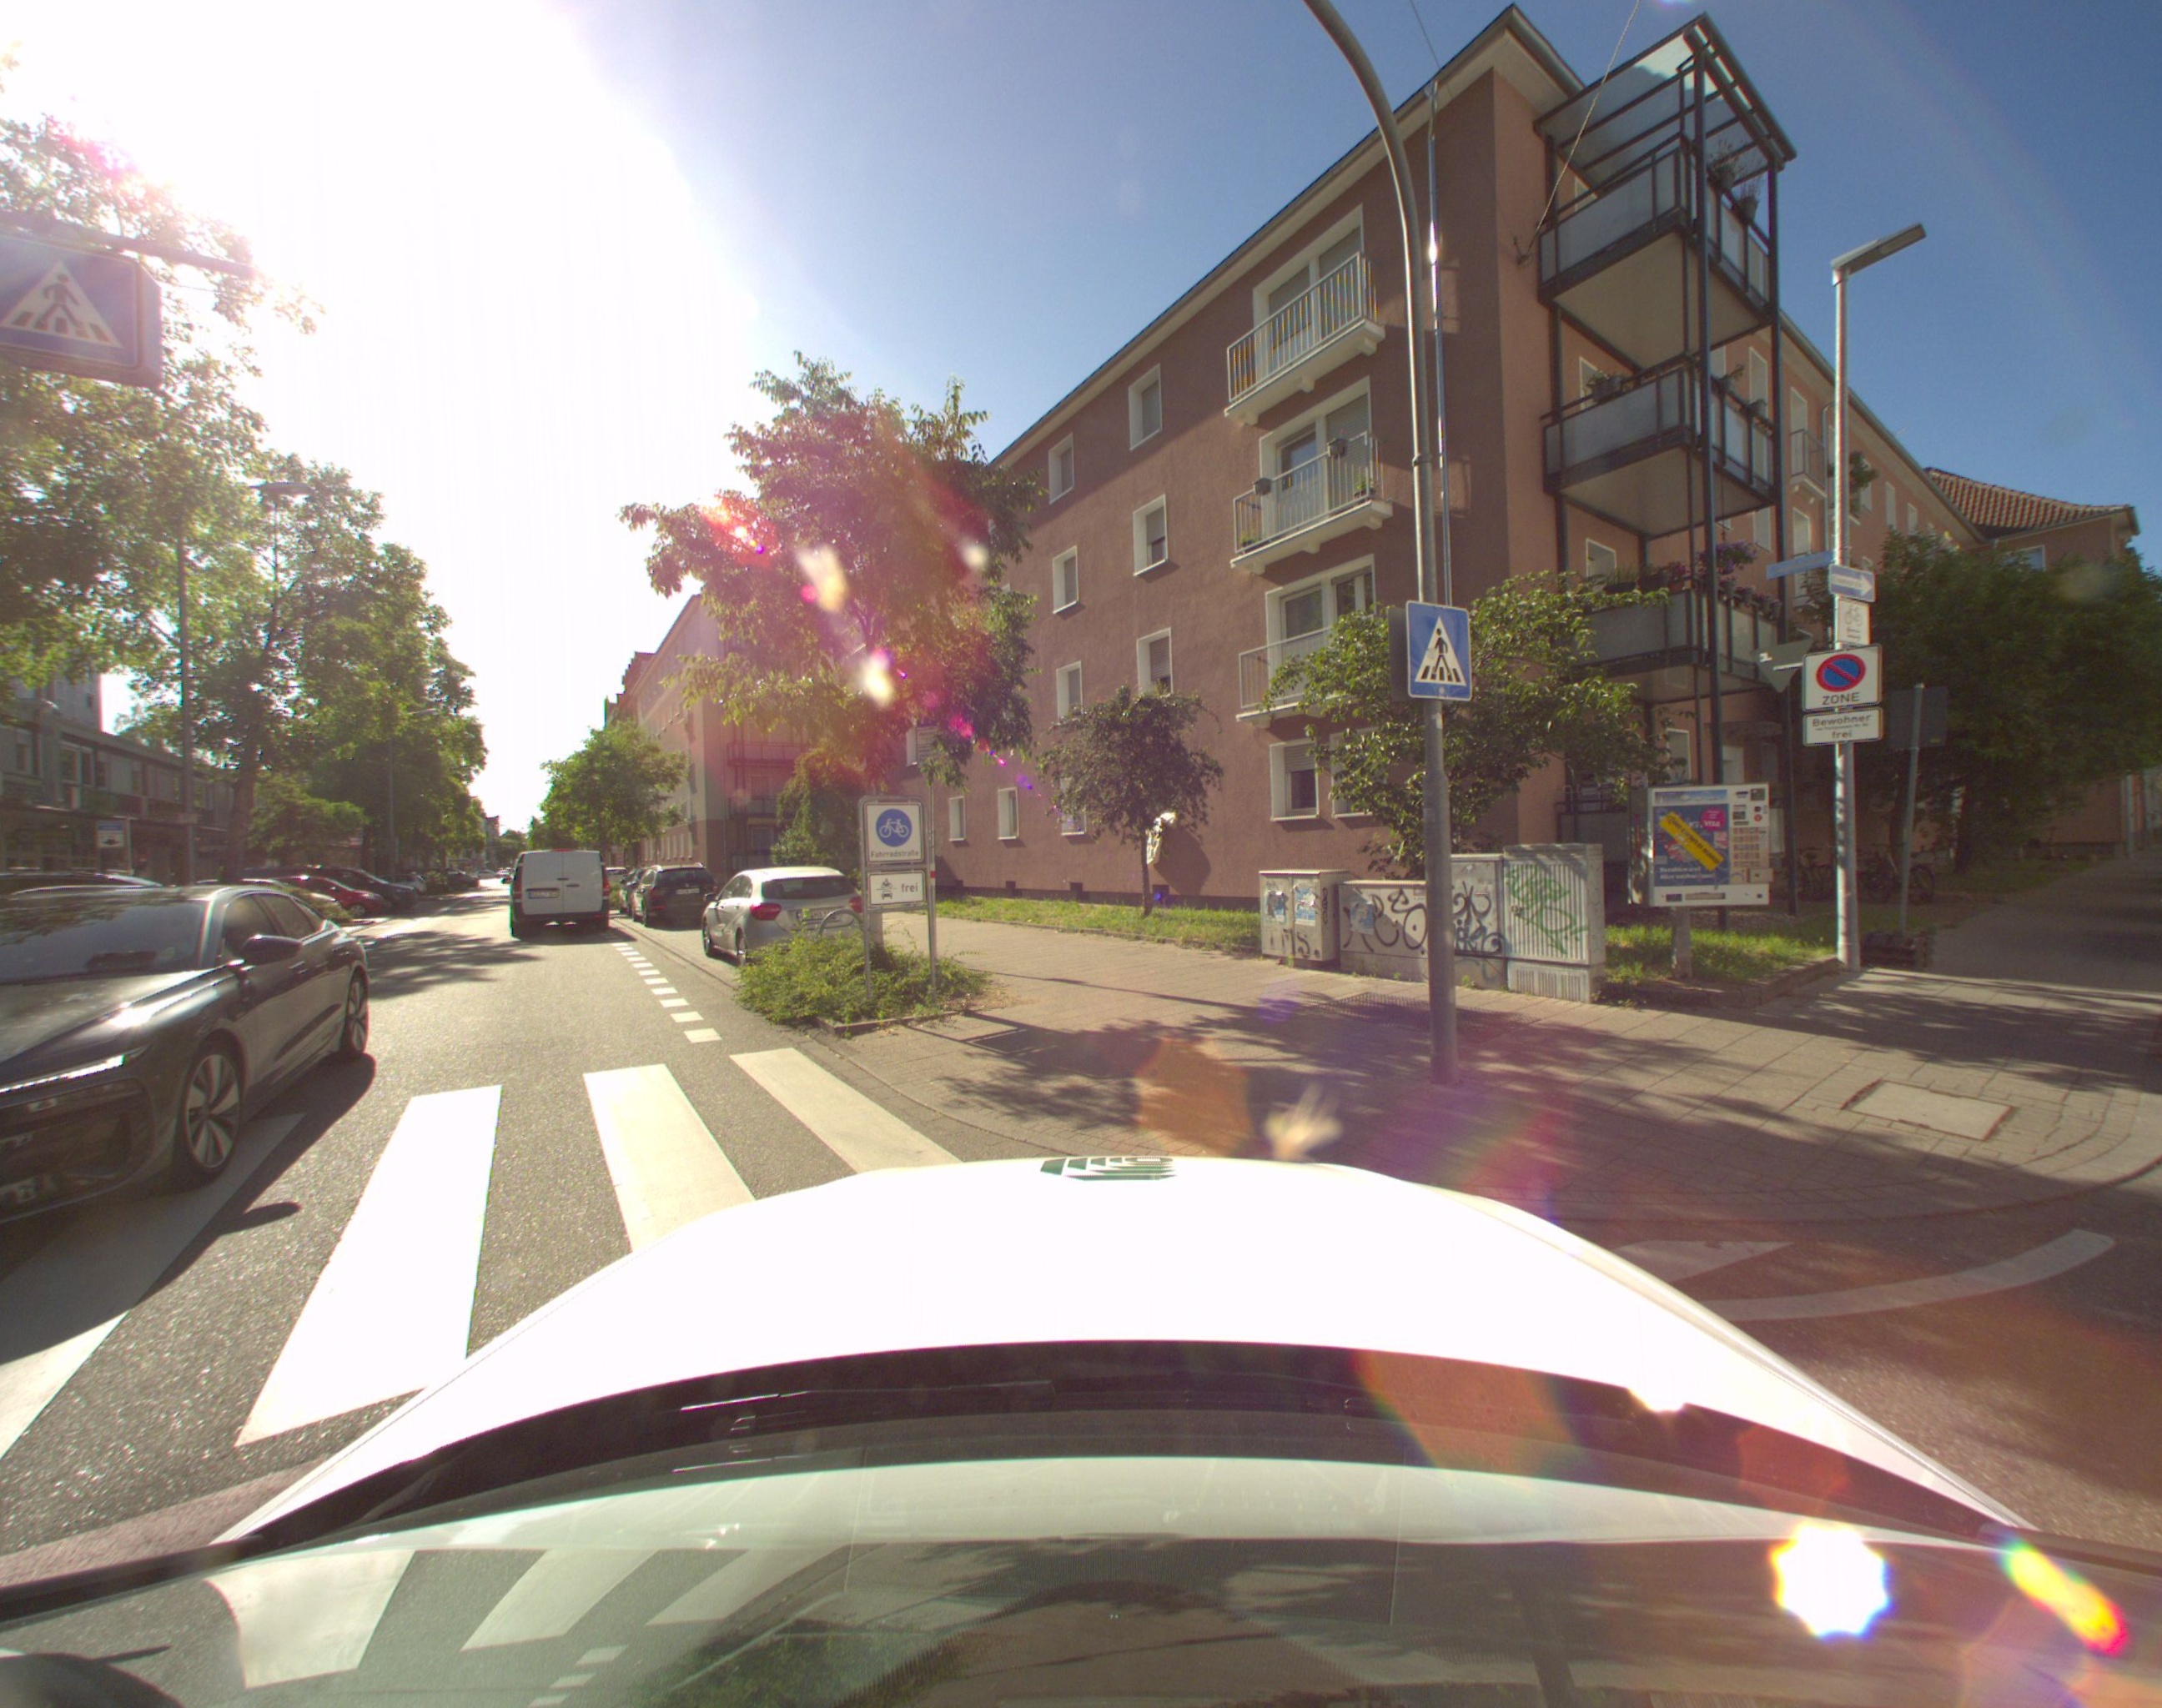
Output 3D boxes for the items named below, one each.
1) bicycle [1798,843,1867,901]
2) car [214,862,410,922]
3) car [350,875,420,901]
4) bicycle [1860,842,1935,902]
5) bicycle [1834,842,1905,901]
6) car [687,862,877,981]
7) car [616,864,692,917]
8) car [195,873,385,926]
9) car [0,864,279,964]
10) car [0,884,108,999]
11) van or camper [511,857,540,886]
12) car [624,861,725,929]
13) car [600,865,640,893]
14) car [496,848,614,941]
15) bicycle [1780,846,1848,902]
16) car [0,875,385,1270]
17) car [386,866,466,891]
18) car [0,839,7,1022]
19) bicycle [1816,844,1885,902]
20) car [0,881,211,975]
[{"bbox_3d":[14.493,0.335,15.734,0.264,1.072,1.218,-2,0,5],"label":"bicycle"},{"bbox_3d":[-29.416,1.393,31.432,5.252,1.981,1.643,-2,0,-36],"label":"car"},{"bbox_3d":[-42.658,2.041,49.999,3.123,1.409,1.643,-2,0,-36],"label":"car"},{"bbox_3d":[15.409,0.321,15.395,0.251,1.071,1.222,-2,0,5],"label":"bicycle"},{"bbox_3d":[15.137,0.320,15.666,0.251,1.071,1.218,-2,0,5],"label":"bicycle"},{"bbox_3d":[-4.749,0.899,12.572,1.753,1.454,4.111,-2,0,-35],"label":"car"},{"bbox_3d":[-13.830,1.115,26.287,1.753,1.519,3.817,-2,0,-34],"label":"car"},{"bbox_3d":[-28.146,1.558,29.236,4.662,1.610,1.643,-2,0,-36],"label":"car"},{"bbox_3d":[-20.155,1.177,16.940,4.662,1.804,1.817,-2,0,-36],"label":"car"},{"bbox_3d":[-16.199,1.221,10.712,4.060,1.494,1.698,-1,-1,-36],"label":"car"},{"bbox_3d":[-49.944,1.577,73.285,2.008,2.475,5.758,-2,0,-34],"label":"van or camper"},{"bbox_3d":[-10.620,0.989,21.125,1.796,1.519,4.263,-2,0,-34],"label":"car"},{"bbox_3d":[-27.768,1.465,49.007,1.753,1.519,3.817,-2,0,-34],"label":"car"},{"bbox_3d":[-12.916,0.872,19.906,2.117,1.907,5.366,-2,0,-35],"label":"car"},{"bbox_3d":[14.169,0.368,15.773,0.288,1.035,1.218,-2,0,5],"label":"bicycle"},{"bbox_3d":[-5.817,0.912,4.745,1.922,1.454,4.532,-2,0,-31],"label":"car"},{"bbox_3d":[-56.455,2.075,70.320,5.252,1.981,1.643,-2,0,-36],"label":"car"},{"bbox_3d":[-13.287,0.840,6.841,4.766,2.006,1.938,0,-1,-37],"label":"car"},{"bbox_3d":[14.809,0.343,15.699,0.251,1.071,1.218,-2,0,5],"label":"bicycle"},{"bbox_3d":[-19.117,1.331,14.475,4.692,1.494,1.807,-2,0,-36],"label":"car"}]
